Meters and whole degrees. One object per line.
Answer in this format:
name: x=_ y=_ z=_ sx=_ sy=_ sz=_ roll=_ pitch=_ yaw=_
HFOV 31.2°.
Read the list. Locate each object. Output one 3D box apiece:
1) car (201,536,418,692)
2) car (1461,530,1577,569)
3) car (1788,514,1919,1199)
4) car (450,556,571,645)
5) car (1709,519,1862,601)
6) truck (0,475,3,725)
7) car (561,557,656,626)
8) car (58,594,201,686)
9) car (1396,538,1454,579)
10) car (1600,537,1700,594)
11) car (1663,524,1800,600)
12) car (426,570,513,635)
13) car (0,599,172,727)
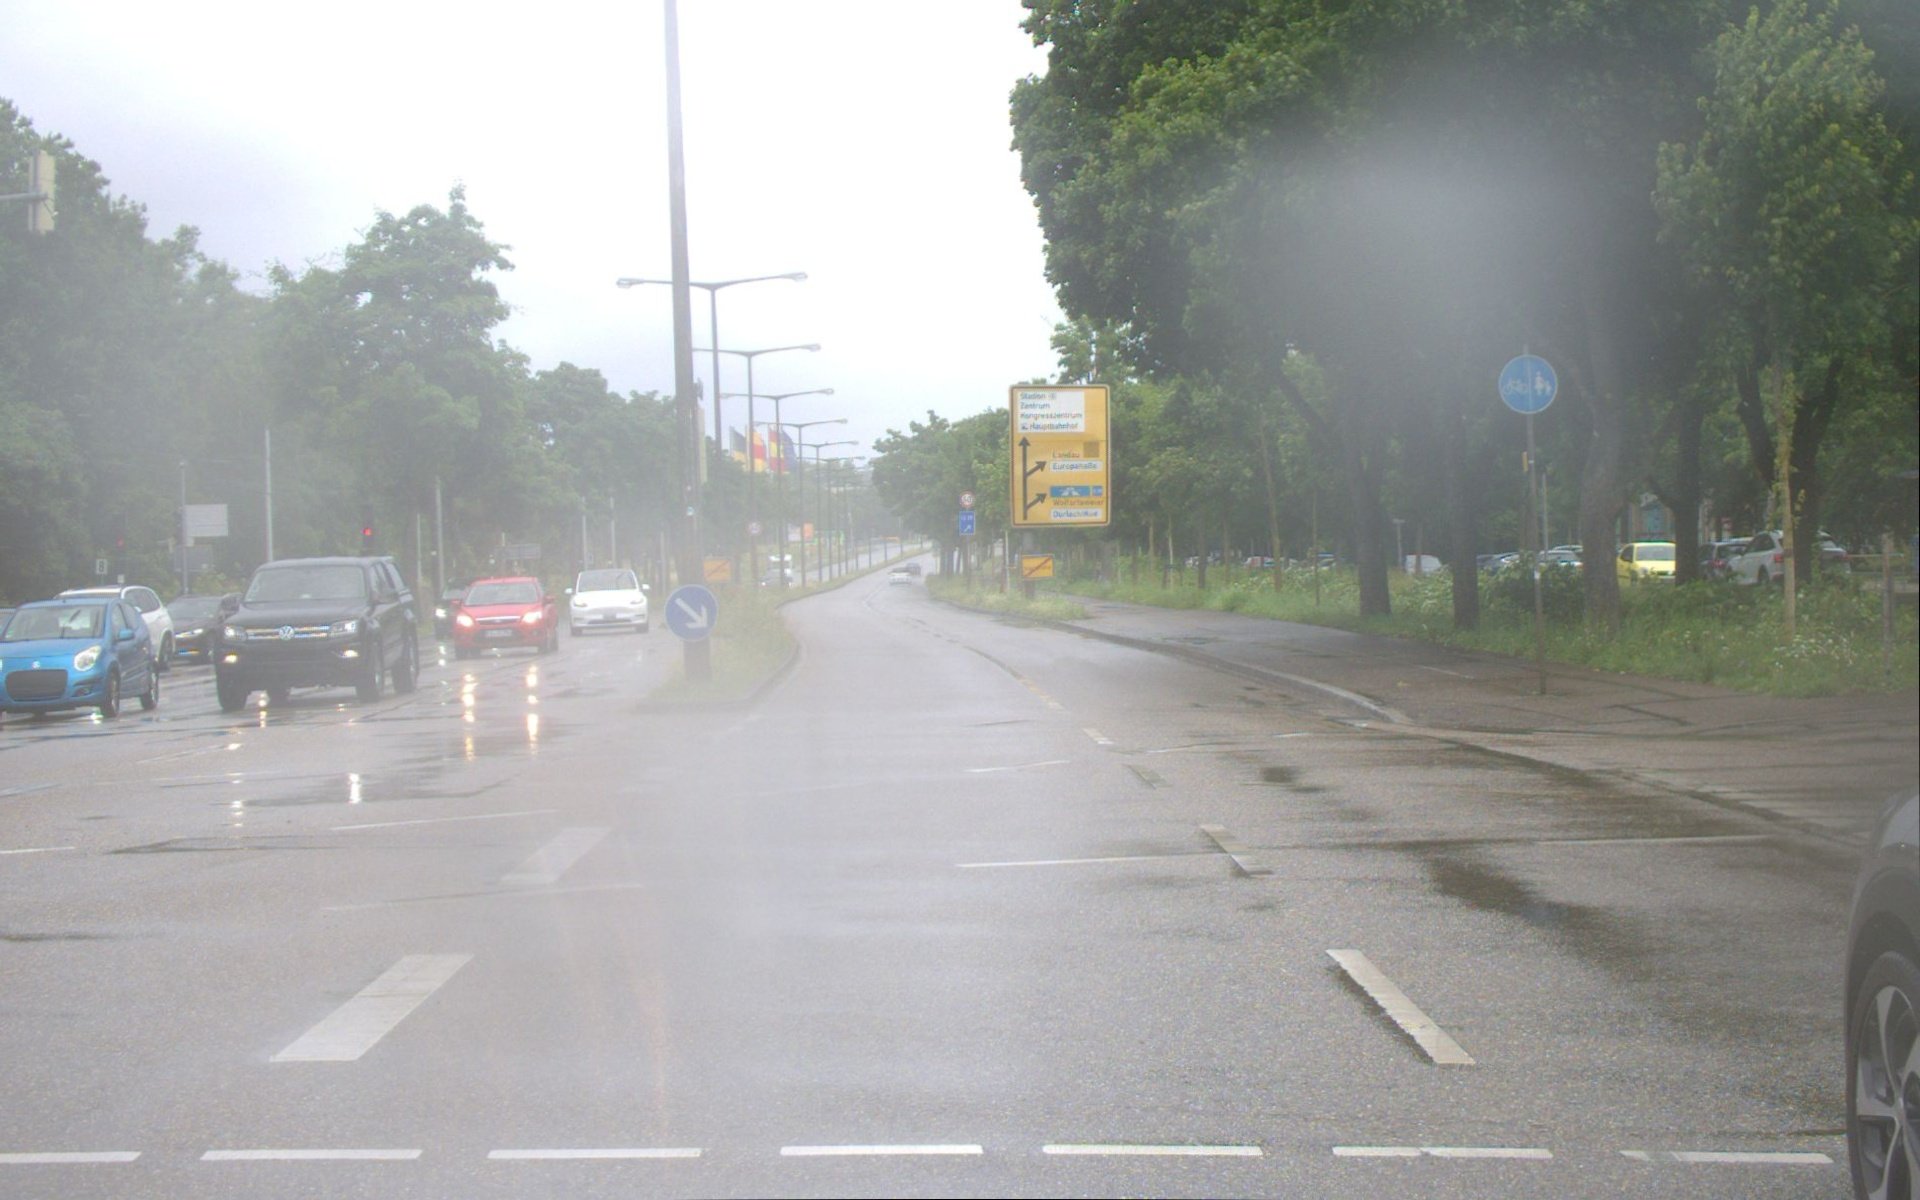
car: x=-8.143 y=0.135 z=43.473 sx=1.805 sy=1.767 sz=5.089 roll=-3 pitch=1 yaw=-1
car: x=24.152 y=-2.190 z=148.627 sx=4.569 sy=1.639 sz=2.000 roll=0 pitch=0 yaw=-6
car: x=2.855 y=0.657 z=5.709 sx=1.884 sy=1.605 sz=4.196 roll=0 pitch=1 yaw=-1
car: x=-8.616 y=0.013 z=66.215 sx=1.801 sy=1.564 sz=4.429 roll=-3 pitch=0 yaw=-2
car: x=18.556 y=-0.880 z=77.499 sx=1.993 sy=1.711 sz=4.879 roll=-2 pitch=0 yaw=-3
truck: x=-17.482 y=-0.001 z=51.927 sx=3.384 sy=4.153 sz=10.407 roll=0 pitch=0 yaw=-1
car: x=-8.793 y=-0.224 z=86.323 sx=1.961 sy=1.611 sz=4.697 roll=-2 pitch=1 yaw=-1
car: x=-17.038 y=0.784 z=70.752 sx=1.993 sy=1.821 sz=4.772 roll=0 pitch=0 yaw=-3
car: x=17.927 y=-1.616 z=132.588 sx=1.745 sy=1.440 sz=4.122 roll=-2 pitch=2 yaw=1
car: x=18.239 y=-0.891 z=91.035 sx=1.637 sy=1.481 sz=4.073 roll=0 pitch=0 yaw=-3
car: x=18.606 y=-0.903 z=83.141 sx=1.993 sy=1.711 sz=4.642 roll=-2 pitch=0 yaw=-3
car: x=-13.407 y=0.045 z=94.102 sx=1.707 sy=1.636 sz=4.331 roll=-3 pitch=1 yaw=0
car: x=-10.965 y=0.751 z=42.501 sx=1.641 sy=1.422 sz=4.000 roll=-3 pitch=0 yaw=-3
